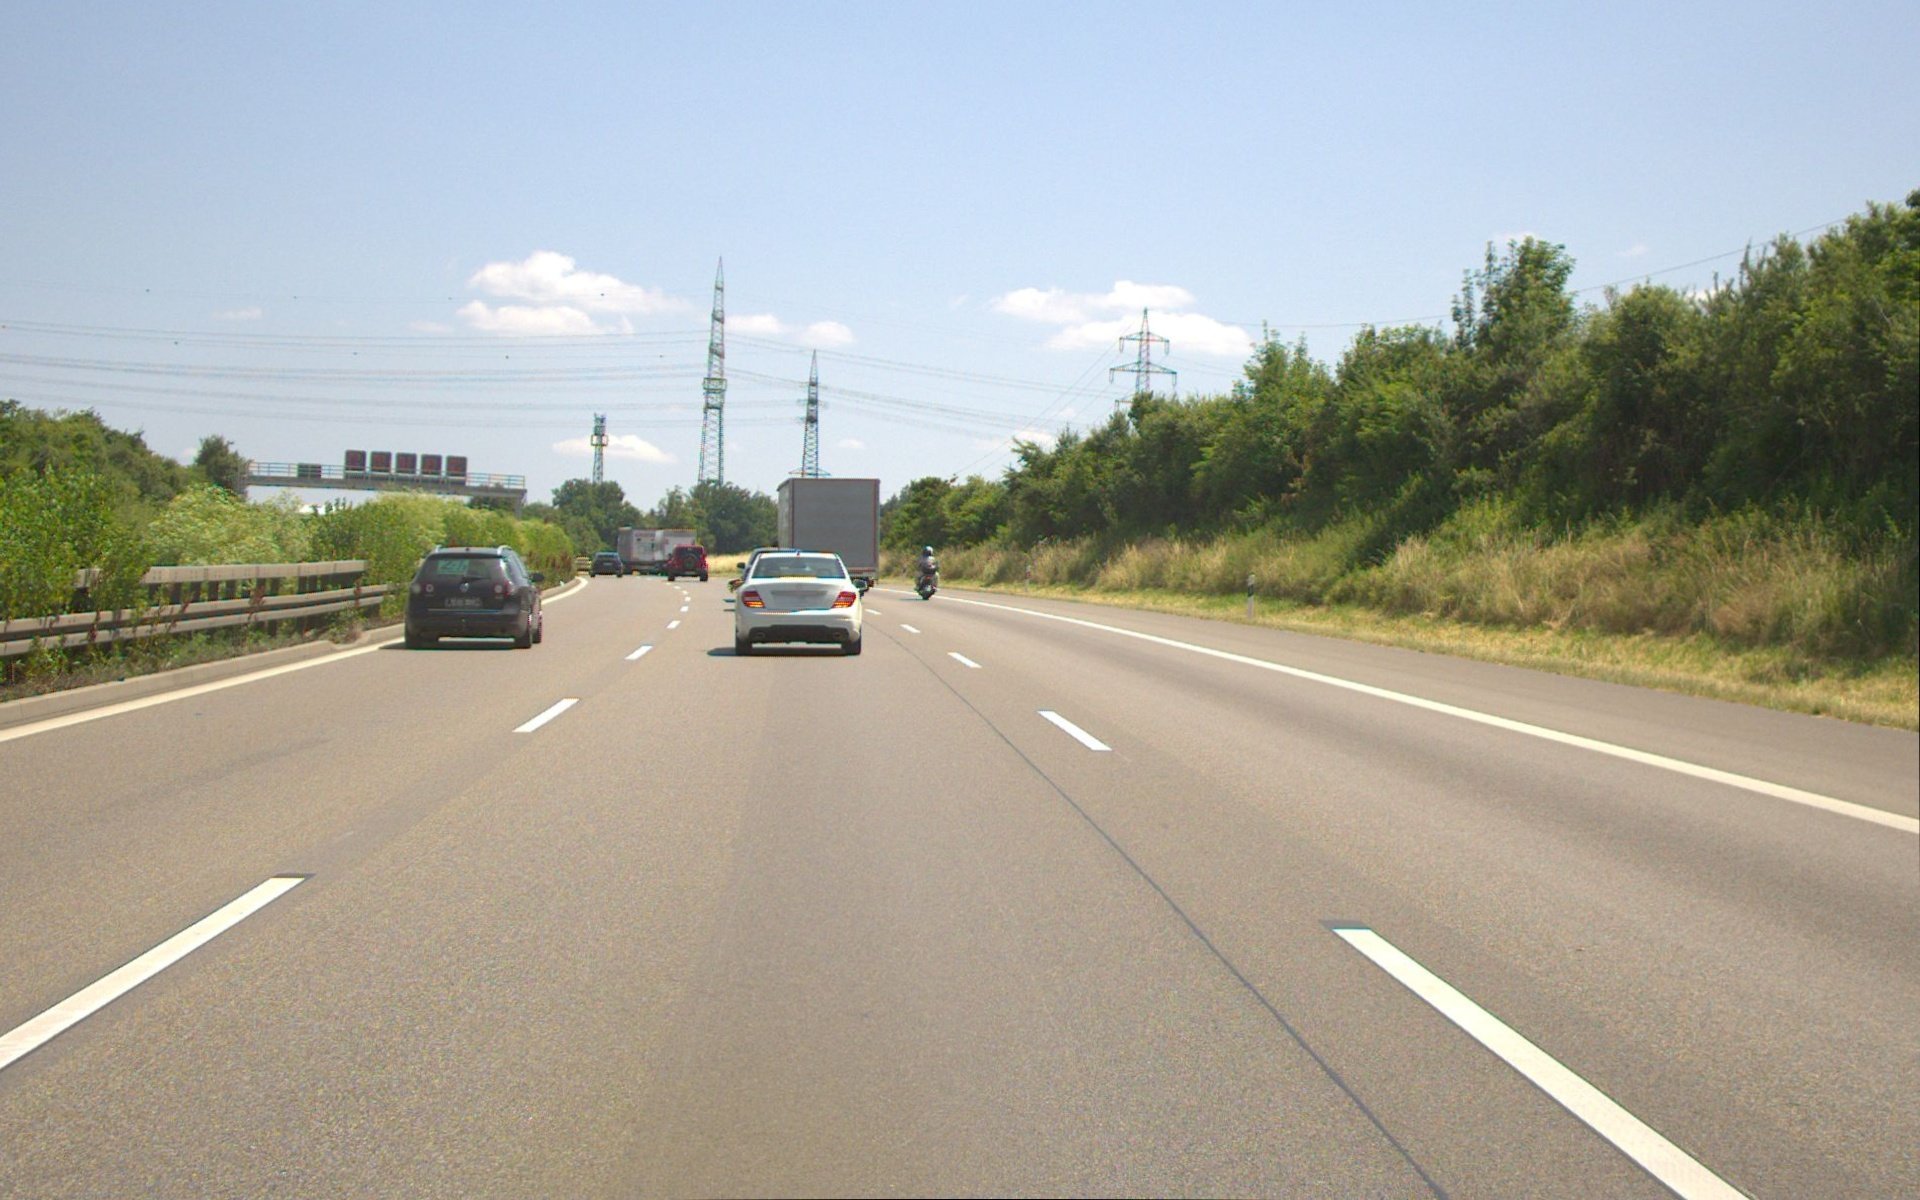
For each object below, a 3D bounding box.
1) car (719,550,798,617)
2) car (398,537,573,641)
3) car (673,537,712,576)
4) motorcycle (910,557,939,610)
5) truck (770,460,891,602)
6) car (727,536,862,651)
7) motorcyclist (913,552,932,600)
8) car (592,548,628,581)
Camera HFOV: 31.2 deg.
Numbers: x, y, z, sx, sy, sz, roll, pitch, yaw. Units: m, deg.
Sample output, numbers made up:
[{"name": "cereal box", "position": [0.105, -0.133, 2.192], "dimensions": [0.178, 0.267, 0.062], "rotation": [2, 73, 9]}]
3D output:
[{"name": "car", "position": [-4.825, -0.409, 82.836], "dimensions": [1.838, 1.535, 3.915], "rotation": [0, 1, -2]}, {"name": "car", "position": [-6.860, -0.185, 50.037], "dimensions": [1.756, 1.424, 4.000], "rotation": [0, 1, 4]}, {"name": "car", "position": [-13.511, -2.199, 173.697], "dimensions": [1.901, 1.919, 4.001], "rotation": [0, 1, -4]}, {"name": "motorcycle", "position": [-1.098, -0.513, 106.673], "dimensions": [0.810, 1.602, 1.782], "rotation": [1, 0, 1]}, {"name": "truck", "position": [-3.868, -1.981, 100.598], "dimensions": [3.220, 3.911, 9.062], "rotation": [1, 1, -4]}, {"name": "car", "position": [-2.332, -0.117, 48.598], "dimensions": [1.819, 1.535, 3.915], "rotation": [0, 1, -3]}, {"name": "motorcyclist", "position": [-1.161, -0.755, 106.648], "dimensions": [0.572, 1.474, 0.700], "rotation": [0, 1, 2]}, {"name": "car", "position": [-20.262, -2.066, 199.228], "dimensions": [1.993, 1.853, 4.001], "rotation": [0, 1, -5]}]
